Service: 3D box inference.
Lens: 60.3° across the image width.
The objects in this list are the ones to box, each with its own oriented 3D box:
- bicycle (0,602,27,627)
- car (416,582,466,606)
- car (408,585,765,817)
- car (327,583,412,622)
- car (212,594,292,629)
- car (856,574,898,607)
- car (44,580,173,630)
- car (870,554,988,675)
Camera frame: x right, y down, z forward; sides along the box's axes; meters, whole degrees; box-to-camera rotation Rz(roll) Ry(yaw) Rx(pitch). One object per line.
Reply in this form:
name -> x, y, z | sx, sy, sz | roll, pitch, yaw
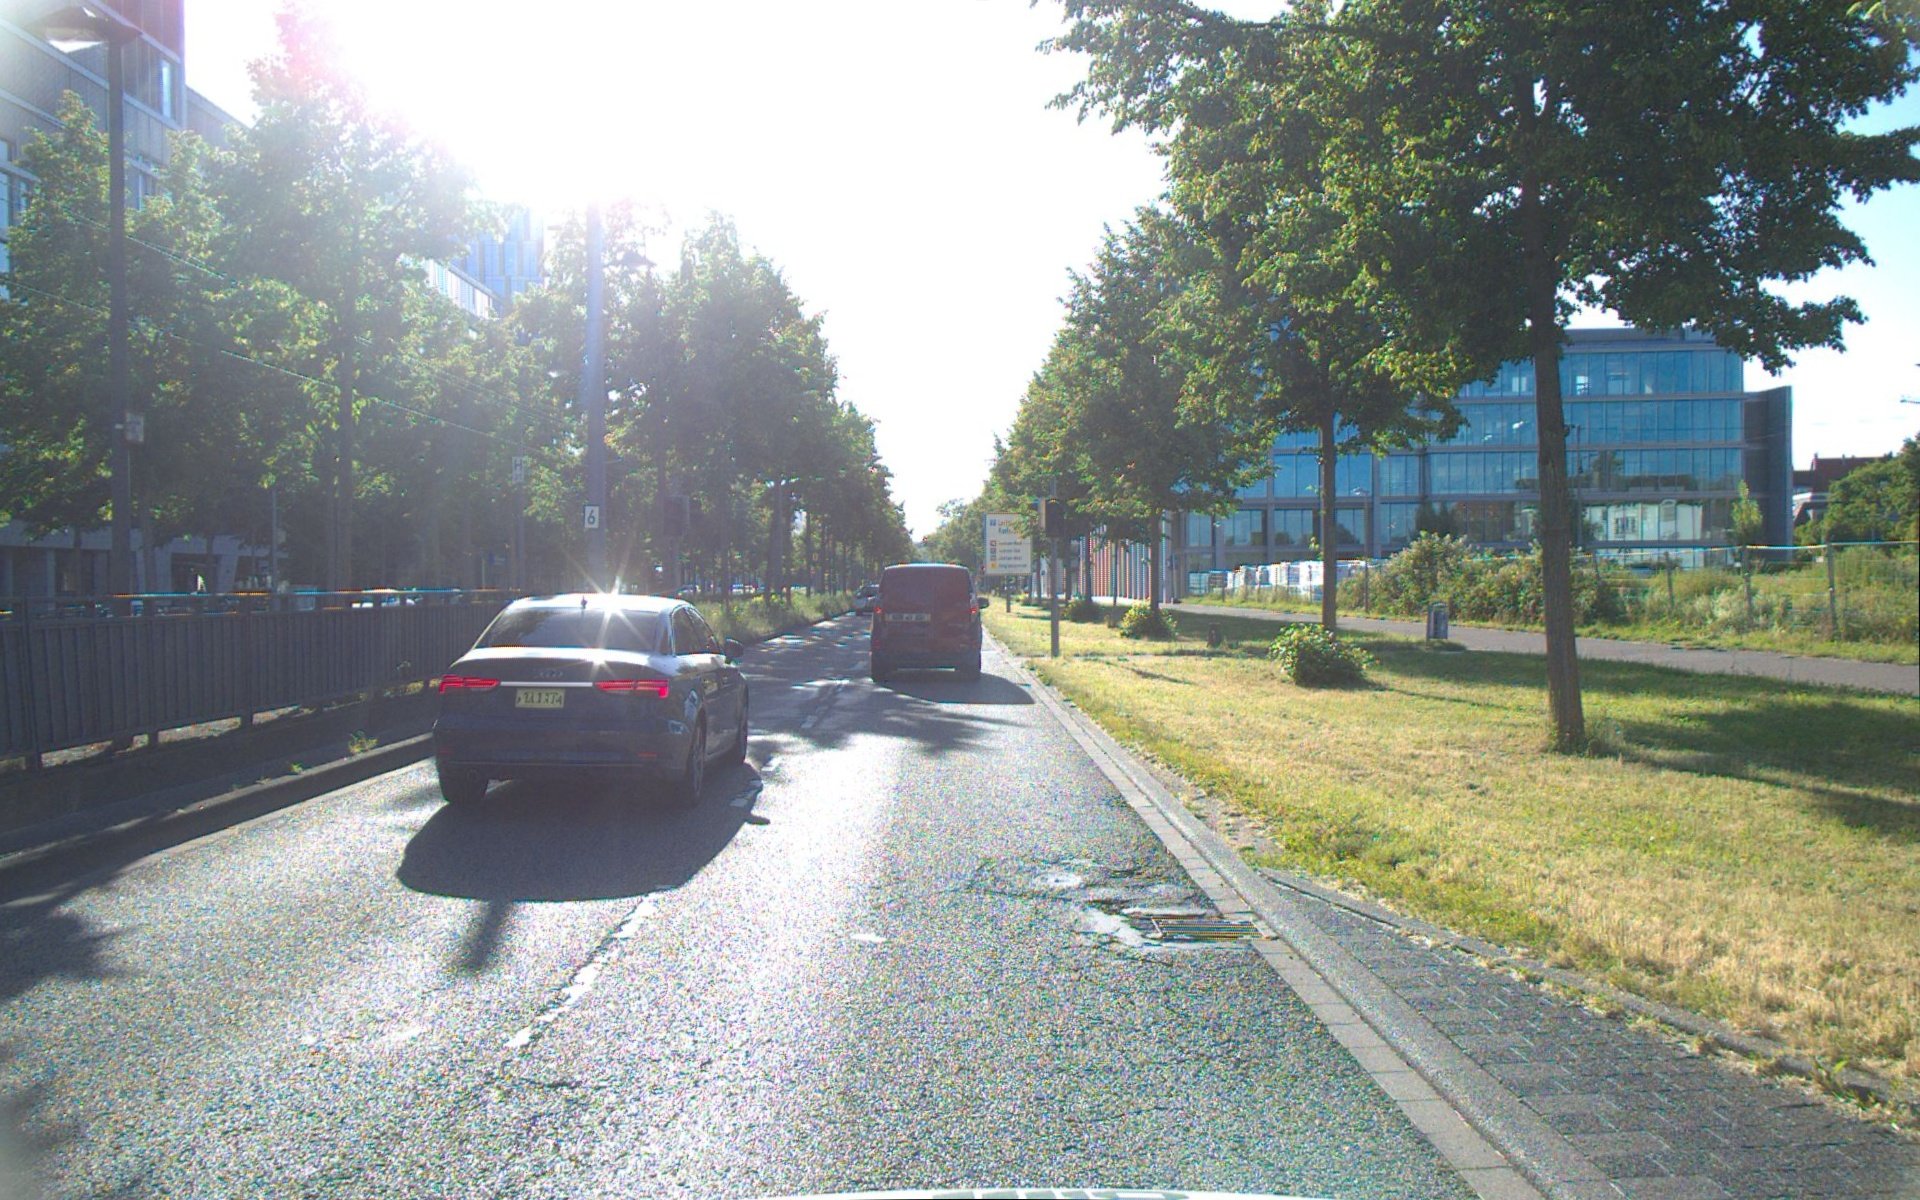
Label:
bicycle -> -38.701, 0.607, 67.190 | 0.530, 0.989, 1.982 | 0, -1, -1
car -> -31.978, -0.390, 102.090 | 1.680, 1.445, 4.544 | -1, 1, -1
car -> -2.546, 0.604, 12.264 | 1.686, 1.390, 4.146 | 1, 1, 0
car -> -23.065, 0.069, 64.773 | 1.781, 1.428, 4.508 | -1, 1, -1
car -> -31.841, 0.478, 74.535 | 1.634, 1.444, 4.804 | -1, 1, -1
car -> -3.906, -0.450, 77.575 | 1.903, 1.466, 3.998 | -1, 1, -3
car -> -25.446, 0.176, 49.592 | 1.724, 1.428, 4.332 | 0, -1, -1
car -> -0.550, 0.189, 27.114 | 1.761, 1.808, 3.998 | -1, 1, -2
